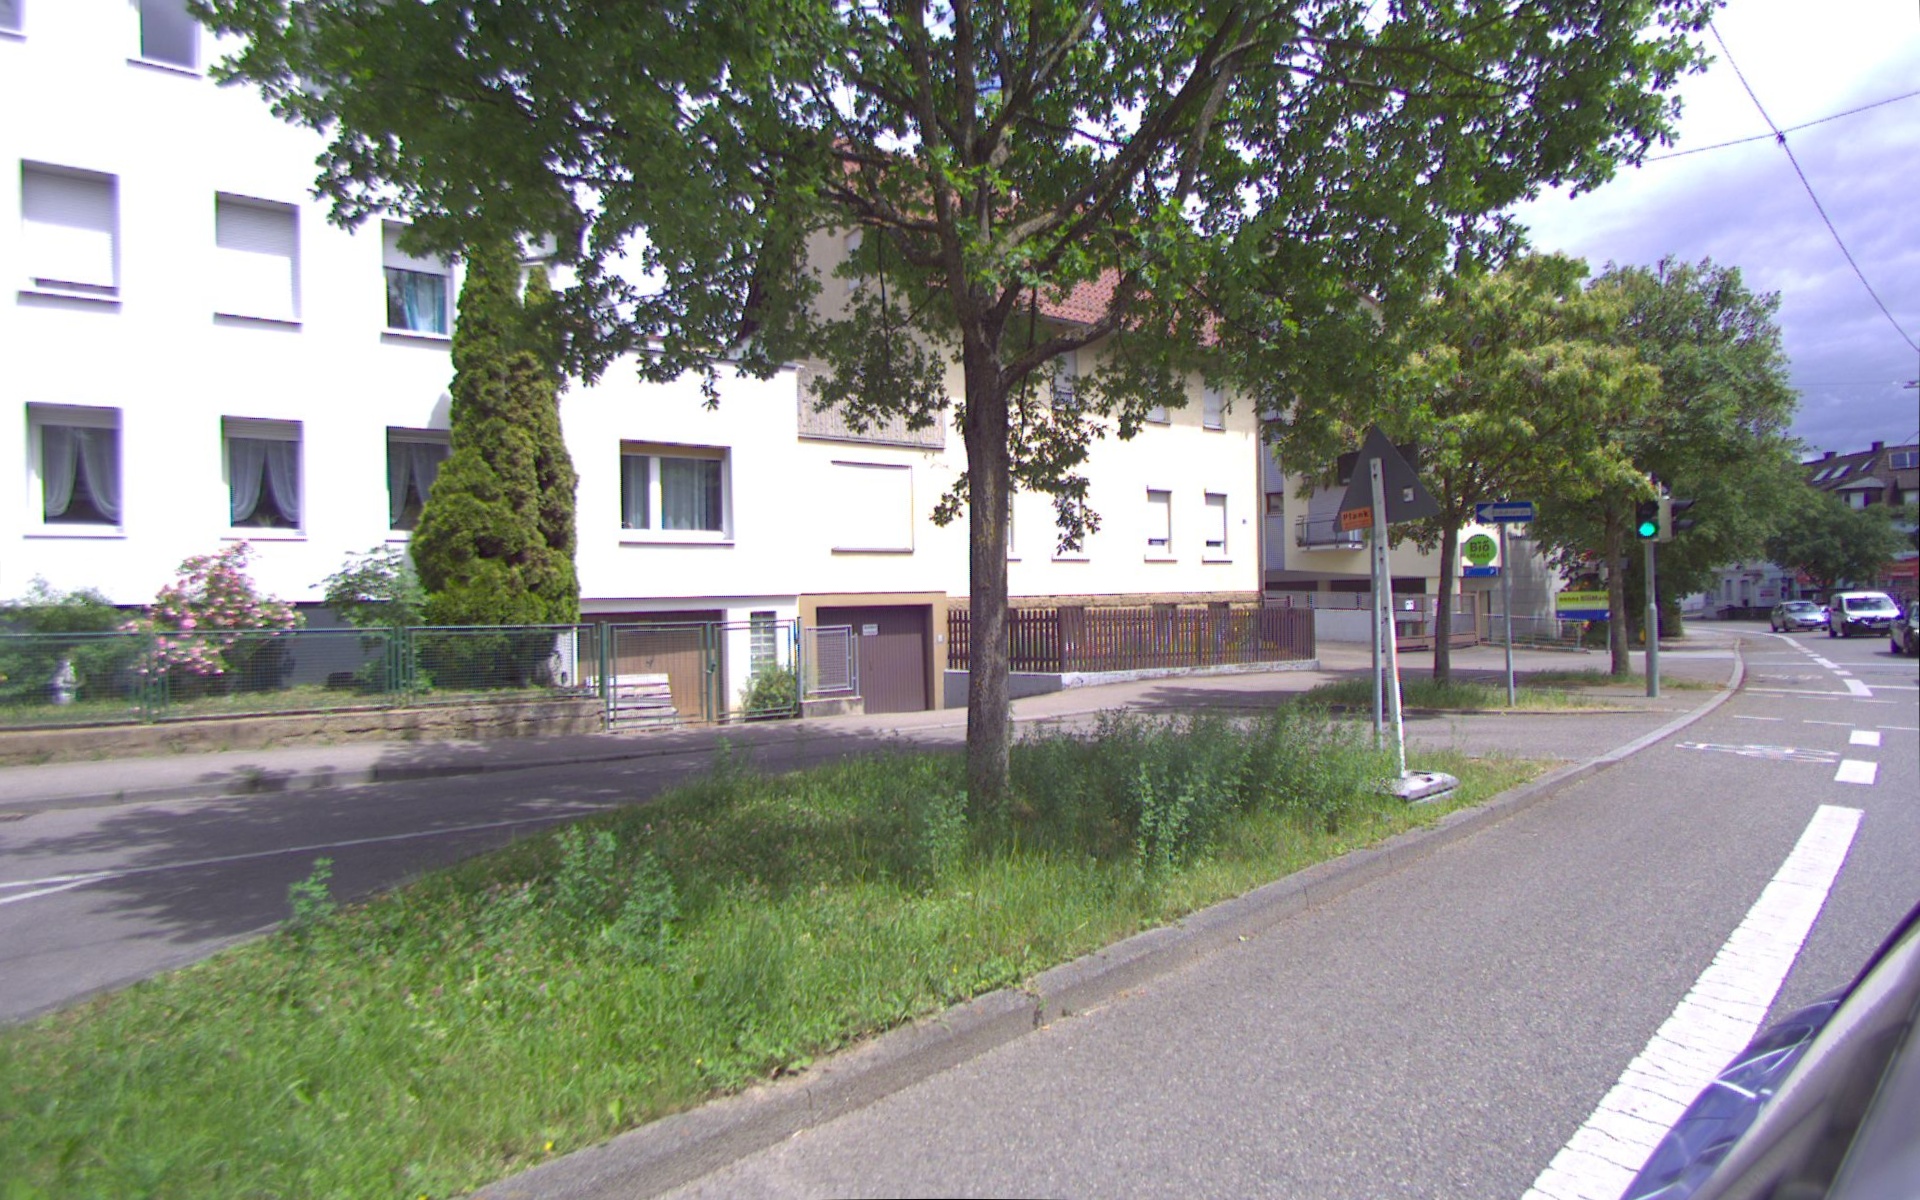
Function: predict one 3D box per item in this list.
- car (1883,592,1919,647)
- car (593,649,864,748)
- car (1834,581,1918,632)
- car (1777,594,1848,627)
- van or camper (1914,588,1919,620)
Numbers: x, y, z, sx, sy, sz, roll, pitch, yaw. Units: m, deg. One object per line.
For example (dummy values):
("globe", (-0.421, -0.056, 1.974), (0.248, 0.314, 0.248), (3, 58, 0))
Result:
("car", (25.986, 0.509, 26.556), (1.827, 1.408, 3.955), (0, -1, 31))
("car", (-3.544, 1.457, 15.753), (3.798, 1.139, 1.466), (-3, -2, -34))
("car", (36.053, 0.239, 39.937), (1.841, 1.839, 3.950), (-4, -2, 35))
("car", (42.387, 0.506, 50.389), (1.677, 1.505, 3.964), (-4, -1, 26))
("van or camper", (65.246, 0.256, 67.529), (1.785, 2.116, 3.760), (-4, -2, 37))
